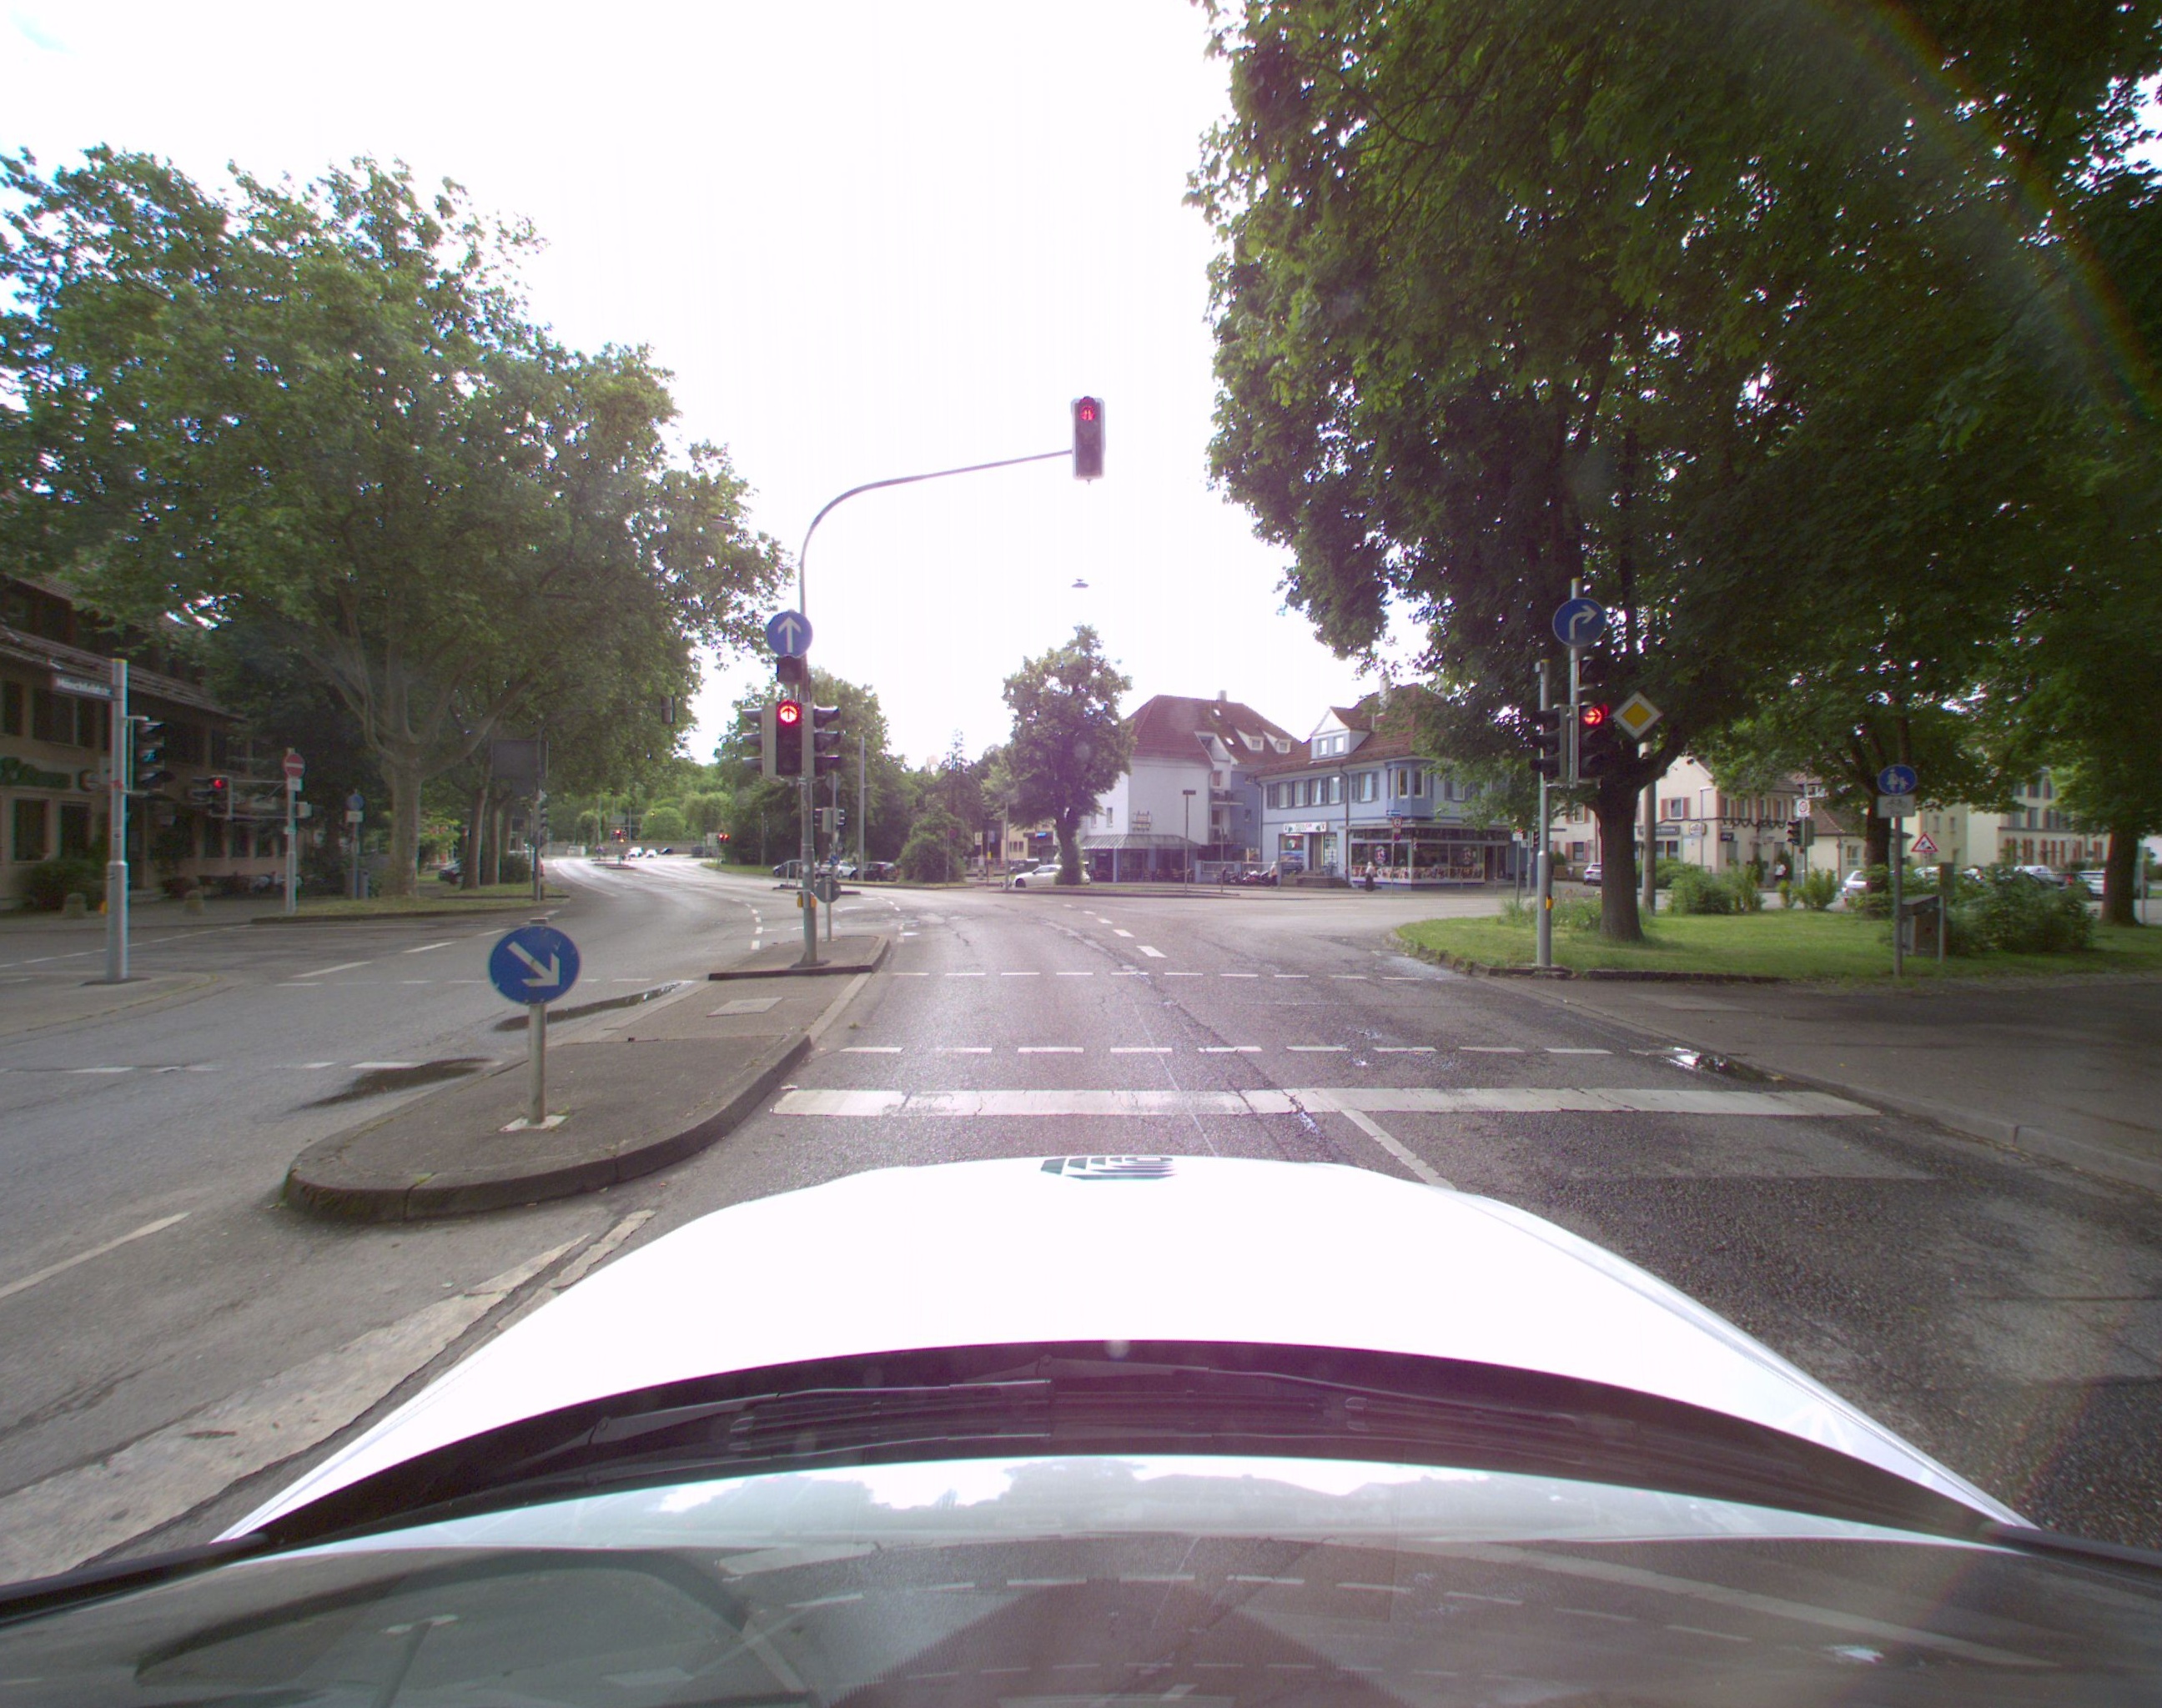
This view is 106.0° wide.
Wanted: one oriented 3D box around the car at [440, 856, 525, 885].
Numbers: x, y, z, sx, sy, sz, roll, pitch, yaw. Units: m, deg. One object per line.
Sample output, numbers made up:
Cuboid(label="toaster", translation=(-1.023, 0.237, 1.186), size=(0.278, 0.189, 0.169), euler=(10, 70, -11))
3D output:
Cuboid(label="car", translation=(-35.626, 0.956, 48.615), size=(4.015, 1.684, 1.979), euler=(0, -1, -34))

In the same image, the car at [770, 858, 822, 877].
Cuboid(label="car", translation=(-22.584, 1.026, 64.523), size=(3.742, 1.465, 1.629), euler=(0, 0, 20))

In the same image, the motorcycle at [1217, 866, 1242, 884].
Cuboid(label="motorcycle", translation=(9.138, 1.307, 50.051), size=(1.441, 1.088, 0.527), euler=(-1, -1, 37))

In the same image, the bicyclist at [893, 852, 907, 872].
Cuboid(label="bicyclist", translation=(-15.555, 0.696, 69.957), size=(0.909, 1.651, 0.991), euler=(0, -1, 10))

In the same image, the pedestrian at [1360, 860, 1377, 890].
Cuboid(label="pedestrian", translation=(15.111, 1.097, 42.753), size=(0.687, 1.560, 0.671), euler=(-1, -1, 33))

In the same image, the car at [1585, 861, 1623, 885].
Cuboid(label="car", translation=(32.462, 1.140, 50.622), size=(1.866, 1.391, 3.637), euler=(0, 0, 31))

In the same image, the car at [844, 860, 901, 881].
Cuboid(label="car", translation=(-13.822, 1.055, 54.007), size=(3.285, 1.352, 1.791), euler=(0, 0, 29))

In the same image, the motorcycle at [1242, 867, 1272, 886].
Cuboid(label="motorcycle", translation=(10.431, 1.318, 48.248), size=(1.609, 1.088, 0.631), euler=(-1, -1, 34))

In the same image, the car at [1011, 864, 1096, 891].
Cuboid(label="car", translation=(-1.592, 1.286, 45.937), size=(4.654, 1.410, 1.914), euler=(0, -1, 37))

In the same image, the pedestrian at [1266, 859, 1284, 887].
Cuboid(label="pedestrian", translation=(10.956, 1.057, 45.993), size=(0.724, 1.560, 0.773), euler=(-1, -1, 33))

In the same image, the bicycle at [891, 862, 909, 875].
Cuboid(label="bicycle", translation=(-15.556, 1.246, 70.041), size=(0.868, 1.149, 1.958), euler=(0, 0, 10))

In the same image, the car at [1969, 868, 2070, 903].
Cuboid(label="car", translation=(42.348, 1.379, 36.754), size=(3.731, 1.457, 1.640), euler=(0, 0, -17))

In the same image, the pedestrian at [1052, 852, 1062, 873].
Cuboid(label="pedestrian", translation=(-1.749, 0.613, 59.357), size=(0.538, 1.560, 0.470), euler=(-1, -1, 15))

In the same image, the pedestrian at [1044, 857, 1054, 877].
Cuboid(label="pedestrian", translation=(-3.164, 1.295, 80.813), size=(0.838, 2.014, 1.051), euler=(0, -1, -12))

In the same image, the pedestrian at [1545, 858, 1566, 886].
Cuboid(label="pedestrian", translation=(26.460, 0.985, 45.459), size=(0.671, 1.560, 0.743), euler=(0, -1, -13))

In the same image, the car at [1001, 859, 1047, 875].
Cuboid(label="car", translation=(-5.314, 1.232, 75.923), size=(3.948, 1.442, 1.742), euler=(0, 0, -18))

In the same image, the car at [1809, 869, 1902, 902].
Cuboid(label="car", translation=(31.788, 1.275, 33.434), size=(3.007, 1.267, 1.455), euler=(0, -1, -17))

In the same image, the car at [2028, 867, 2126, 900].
Cuboid(label="car", translation=(47.082, 1.370, 38.517), size=(3.731, 1.457, 1.640), euler=(0, 0, -17))

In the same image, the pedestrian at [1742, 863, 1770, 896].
Cuboid(label="pedestrian", translation=(22.021, 0.822, 26.572), size=(0.505, 1.081, 0.514), euler=(0, -1, -13))

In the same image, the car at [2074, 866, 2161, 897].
Cuboid(label="car", translation=(52.599, 1.370, 41.254), size=(3.731, 1.457, 1.640), euler=(0, 0, -17))

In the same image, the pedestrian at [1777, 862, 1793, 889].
Cuboid(label="pedestrian", translation=(41.749, 1.261, 48.277), size=(0.504, 1.560, 0.507), euler=(0, -1, -13))

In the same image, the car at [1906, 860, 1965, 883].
Cuboid(label="car", translation=(56.525, 1.158, 53.861), size=(3.871, 1.447, 1.753), euler=(0, -1, -28))

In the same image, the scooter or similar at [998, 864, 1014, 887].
Cuboid(label="scooter or similar", translation=(-3.949, 1.139, 42.851), size=(0.439, 1.175, 1.442), euler=(-1, -1, 11))

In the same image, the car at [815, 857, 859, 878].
Cuboid(label="car", translation=(-20.130, 1.084, 67.414), size=(1.848, 1.640, 3.768), euler=(0, 0, 13))

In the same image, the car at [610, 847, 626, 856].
Cuboid(label="car", translation=(-86.994, -0.428, 152.968), size=(3.293, 1.486, 1.594), euler=(-1, -2, 43))

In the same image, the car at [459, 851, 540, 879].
Cuboid(label="car", translation=(-36.456, 0.680, 51.184), size=(4.015, 1.684, 1.979), euler=(0, -1, -34))

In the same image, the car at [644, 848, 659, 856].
Cuboid(label="car", translation=(-83.030, -0.412, 157.369), size=(2.988, 1.417, 1.509), euler=(-1, -2, 42))
